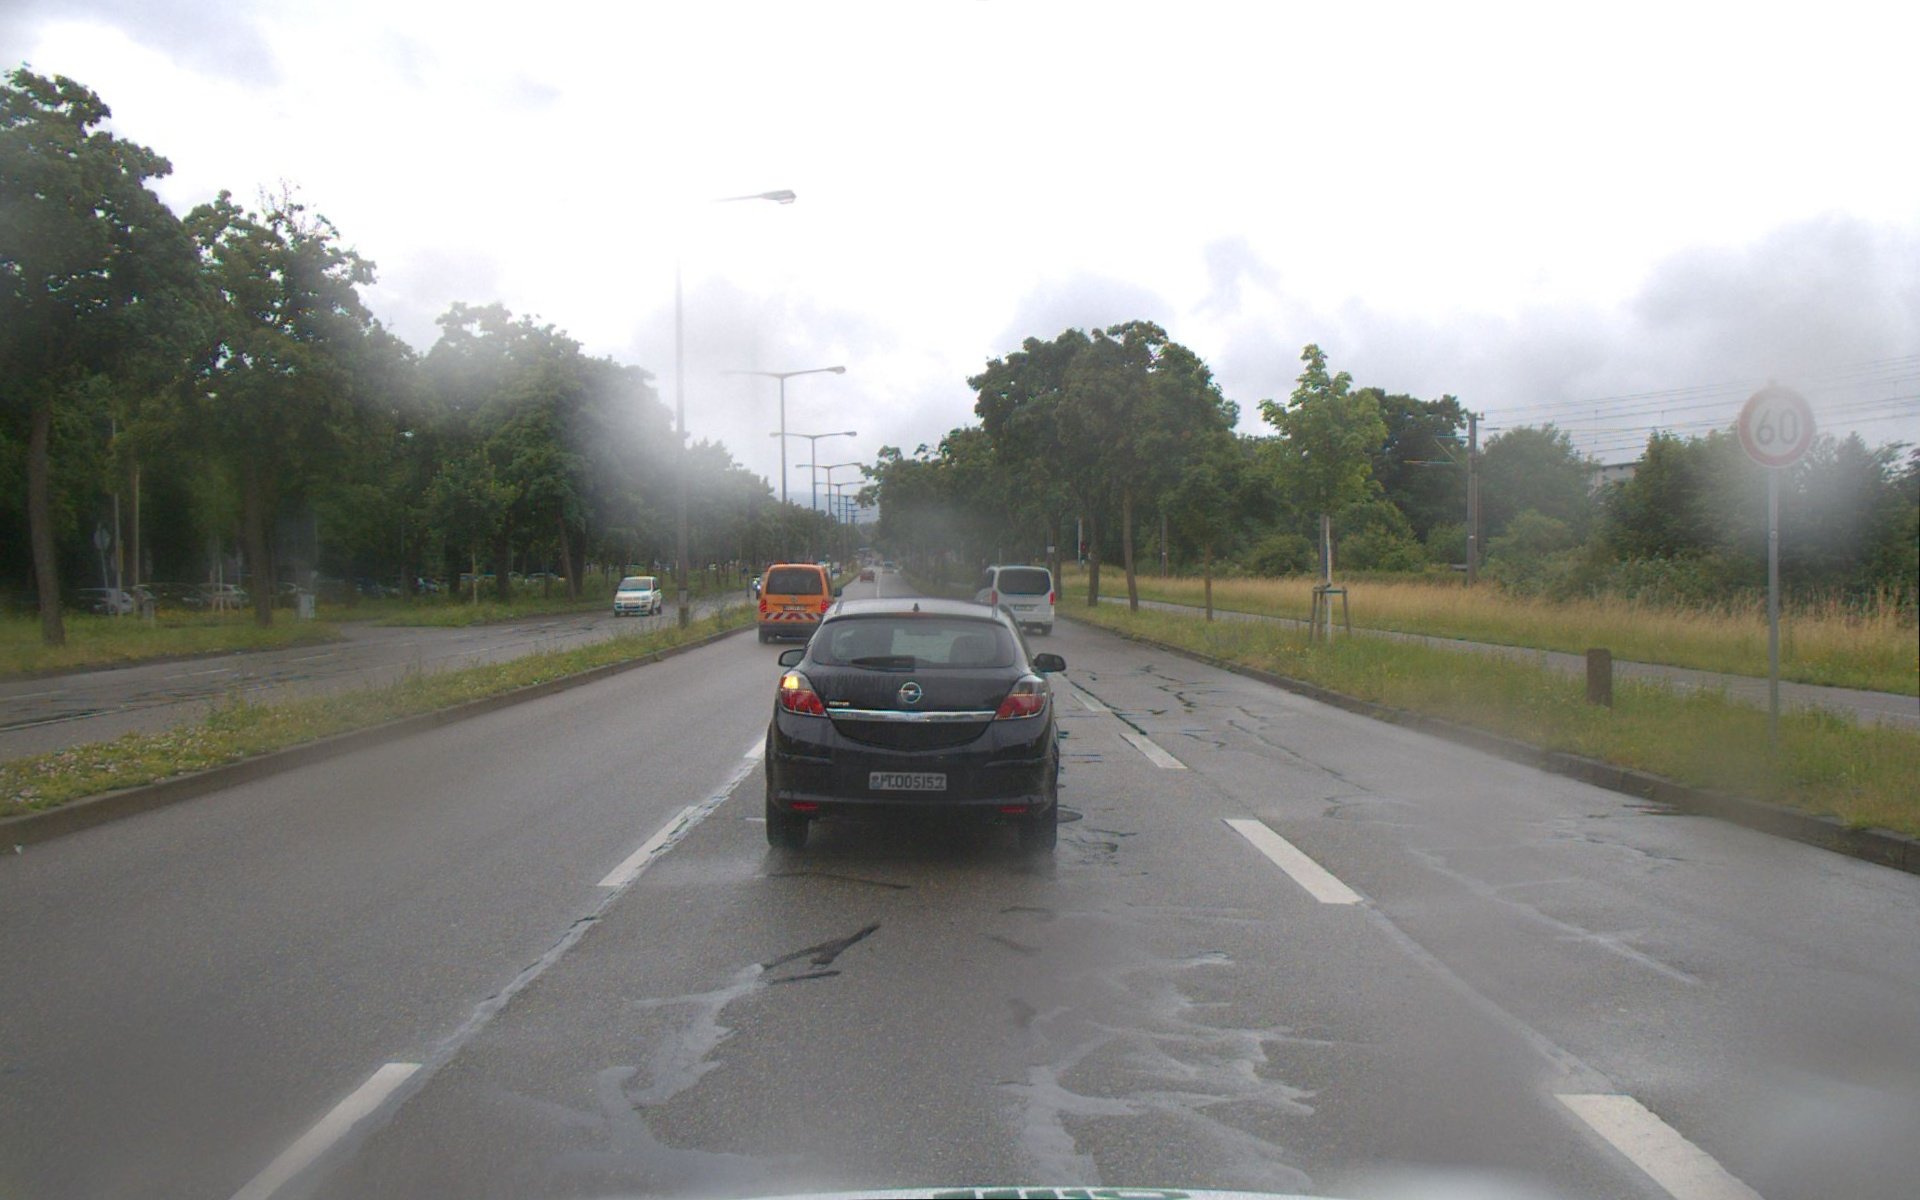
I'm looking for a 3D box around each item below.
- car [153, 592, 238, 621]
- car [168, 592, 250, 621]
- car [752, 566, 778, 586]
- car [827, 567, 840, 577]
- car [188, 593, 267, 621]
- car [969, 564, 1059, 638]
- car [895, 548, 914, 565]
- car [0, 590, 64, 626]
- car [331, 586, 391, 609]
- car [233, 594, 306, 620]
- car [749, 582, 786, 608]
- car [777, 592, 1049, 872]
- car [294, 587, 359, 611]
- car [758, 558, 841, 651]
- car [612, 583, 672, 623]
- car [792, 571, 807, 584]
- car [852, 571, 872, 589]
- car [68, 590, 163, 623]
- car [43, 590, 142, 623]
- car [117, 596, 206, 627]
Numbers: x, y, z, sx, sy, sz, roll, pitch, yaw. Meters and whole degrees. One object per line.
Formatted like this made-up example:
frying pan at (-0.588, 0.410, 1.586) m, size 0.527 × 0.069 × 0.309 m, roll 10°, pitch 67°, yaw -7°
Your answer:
car at (-40.580, 0.342, 87.869) m, size 3.761 × 1.477 × 1.523 m, roll -1°, pitch 1°, yaw -6°
car at (-40.973, 0.348, 90.273) m, size 3.761 × 1.477 × 1.523 m, roll -1°, pitch 1°, yaw -6°
car at (-16.032, -1.967, 136.015) m, size 1.685 × 1.556 × 3.809 m, roll 0°, pitch 2°, yaw -1°
car at (-19.681, -4.317, 257.679) m, size 1.685 × 1.556 × 3.808 m, roll 0°, pitch 1°, yaw -1°
car at (-41.108, 0.371, 92.877) m, size 3.761 × 1.477 × 1.523 m, roll -1°, pitch 1°, yaw -6°
car at (1.495, 0.026, 47.898) m, size 2.019 × 2.009 × 4.603 m, roll 1°, pitch 0°, yaw -6°
car at (-7.642, -5.995, 228.354) m, size 2.465 × 2.088 × 5.291 m, roll 2°, pitch 1°, yaw -2°
car at (-40.065, 0.348, 69.762) m, size 3.662 × 1.451 × 1.486 m, roll -1°, pitch 1°, yaw -6°
car at (-41.615, -0.187, 114.911) m, size 3.774 × 1.477 × 1.518 m, roll -1°, pitch 1°, yaw -17°
car at (-41.836, 0.409, 100.241) m, size 3.761 × 1.477 × 1.523 m, roll -1°, pitch 1°, yaw -6°
car at (-11.298, -0.307, 97.393) m, size 1.790 × 1.475 × 3.808 m, roll 0°, pitch 1°, yaw -1°
car at (-0.208, 0.691, 10.619) m, size 1.433 × 1.352 × 3.759 m, roll 0°, pitch 2°, yaw 1°
car at (-41.312, -0.071, 107.961) m, size 3.769 × 1.477 × 1.520 m, roll -1°, pitch 1°, yaw -13°
car at (-3.814, 0.082, 39.925) m, size 1.700 × 2.054 × 4.847 m, roll 1°, pitch 0°, yaw -3°
car at (-13.016, 0.104, 67.893) m, size 1.648 × 1.581 × 4.000 m, roll 1°, pitch 0°, yaw 0°
car at (-20.270, -2.828, 208.934) m, size 1.685 × 1.556 × 3.809 m, roll 0°, pitch 2°, yaw -1°
car at (-11.043, -2.234, 186.585) m, size 1.952 × 1.912 × 4.001 m, roll 1°, pitch 0°, yaw 1°
car at (-40.850, 0.308, 80.055) m, size 3.761 × 1.477 × 1.523 m, roll -1°, pitch 1°, yaw -6°
car at (-40.576, 0.299, 77.386) m, size 3.761 × 1.477 × 1.523 m, roll -1°, pitch 1°, yaw -6°
car at (-40.916, 0.591, 84.771) m, size 3.761 × 1.477 × 1.523 m, roll -1°, pitch 1°, yaw -6°
